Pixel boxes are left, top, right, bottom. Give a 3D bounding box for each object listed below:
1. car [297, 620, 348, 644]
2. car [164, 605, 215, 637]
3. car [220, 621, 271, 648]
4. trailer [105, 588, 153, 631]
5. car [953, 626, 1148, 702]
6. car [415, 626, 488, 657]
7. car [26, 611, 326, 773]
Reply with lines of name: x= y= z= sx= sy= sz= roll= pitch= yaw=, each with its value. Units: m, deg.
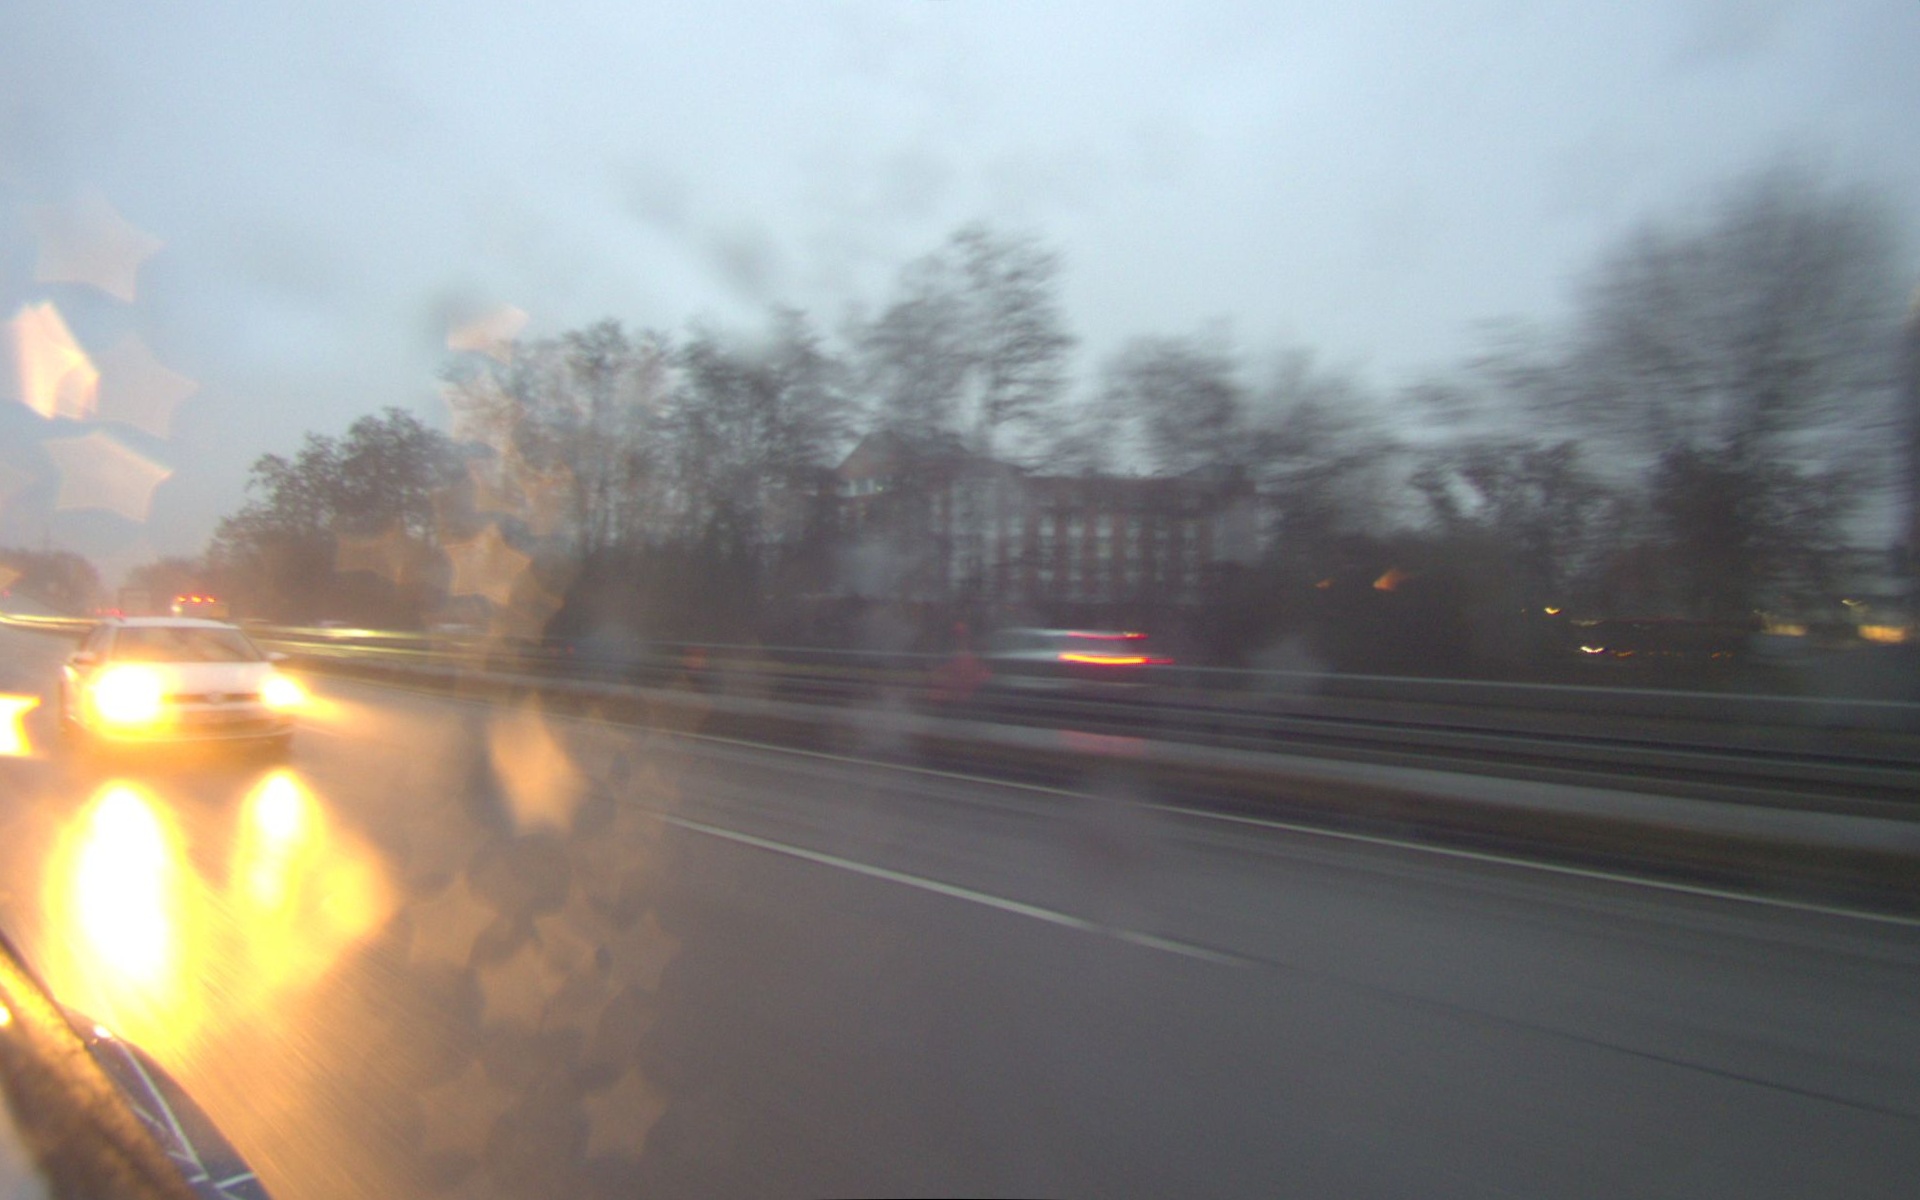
car: x=-38.993 y=1.911 z=61.848 sx=4.257 sy=1.331 sz=1.529 roll=0 pitch=0 yaw=42
car: x=-68.535 y=1.820 z=90.015 sx=6.339 sy=2.751 sz=2.500 roll=0 pitch=0 yaw=42
car: x=-41.544 y=1.974 z=58.823 sx=4.361 sy=1.454 sz=1.529 roll=0 pitch=0 yaw=42
trailer: x=-100.517 y=1.097 z=122.303 sx=3.449 sy=4.884 sz=13.491 roll=-1 pitch=0 yaw=-44
car: x=2.021 y=1.415 z=23.582 sx=4.540 sy=1.524 sz=1.528 roll=0 pitch=-1 yaw=42
car: x=-24.126 y=1.922 z=47.915 sx=4.686 sy=1.281 sz=1.529 roll=0 pitch=0 yaw=42
car: x=-9.359 y=0.924 z=11.916 sx=4.786 sy=1.532 sz=1.927 roll=-1 pitch=-2 yaw=42
